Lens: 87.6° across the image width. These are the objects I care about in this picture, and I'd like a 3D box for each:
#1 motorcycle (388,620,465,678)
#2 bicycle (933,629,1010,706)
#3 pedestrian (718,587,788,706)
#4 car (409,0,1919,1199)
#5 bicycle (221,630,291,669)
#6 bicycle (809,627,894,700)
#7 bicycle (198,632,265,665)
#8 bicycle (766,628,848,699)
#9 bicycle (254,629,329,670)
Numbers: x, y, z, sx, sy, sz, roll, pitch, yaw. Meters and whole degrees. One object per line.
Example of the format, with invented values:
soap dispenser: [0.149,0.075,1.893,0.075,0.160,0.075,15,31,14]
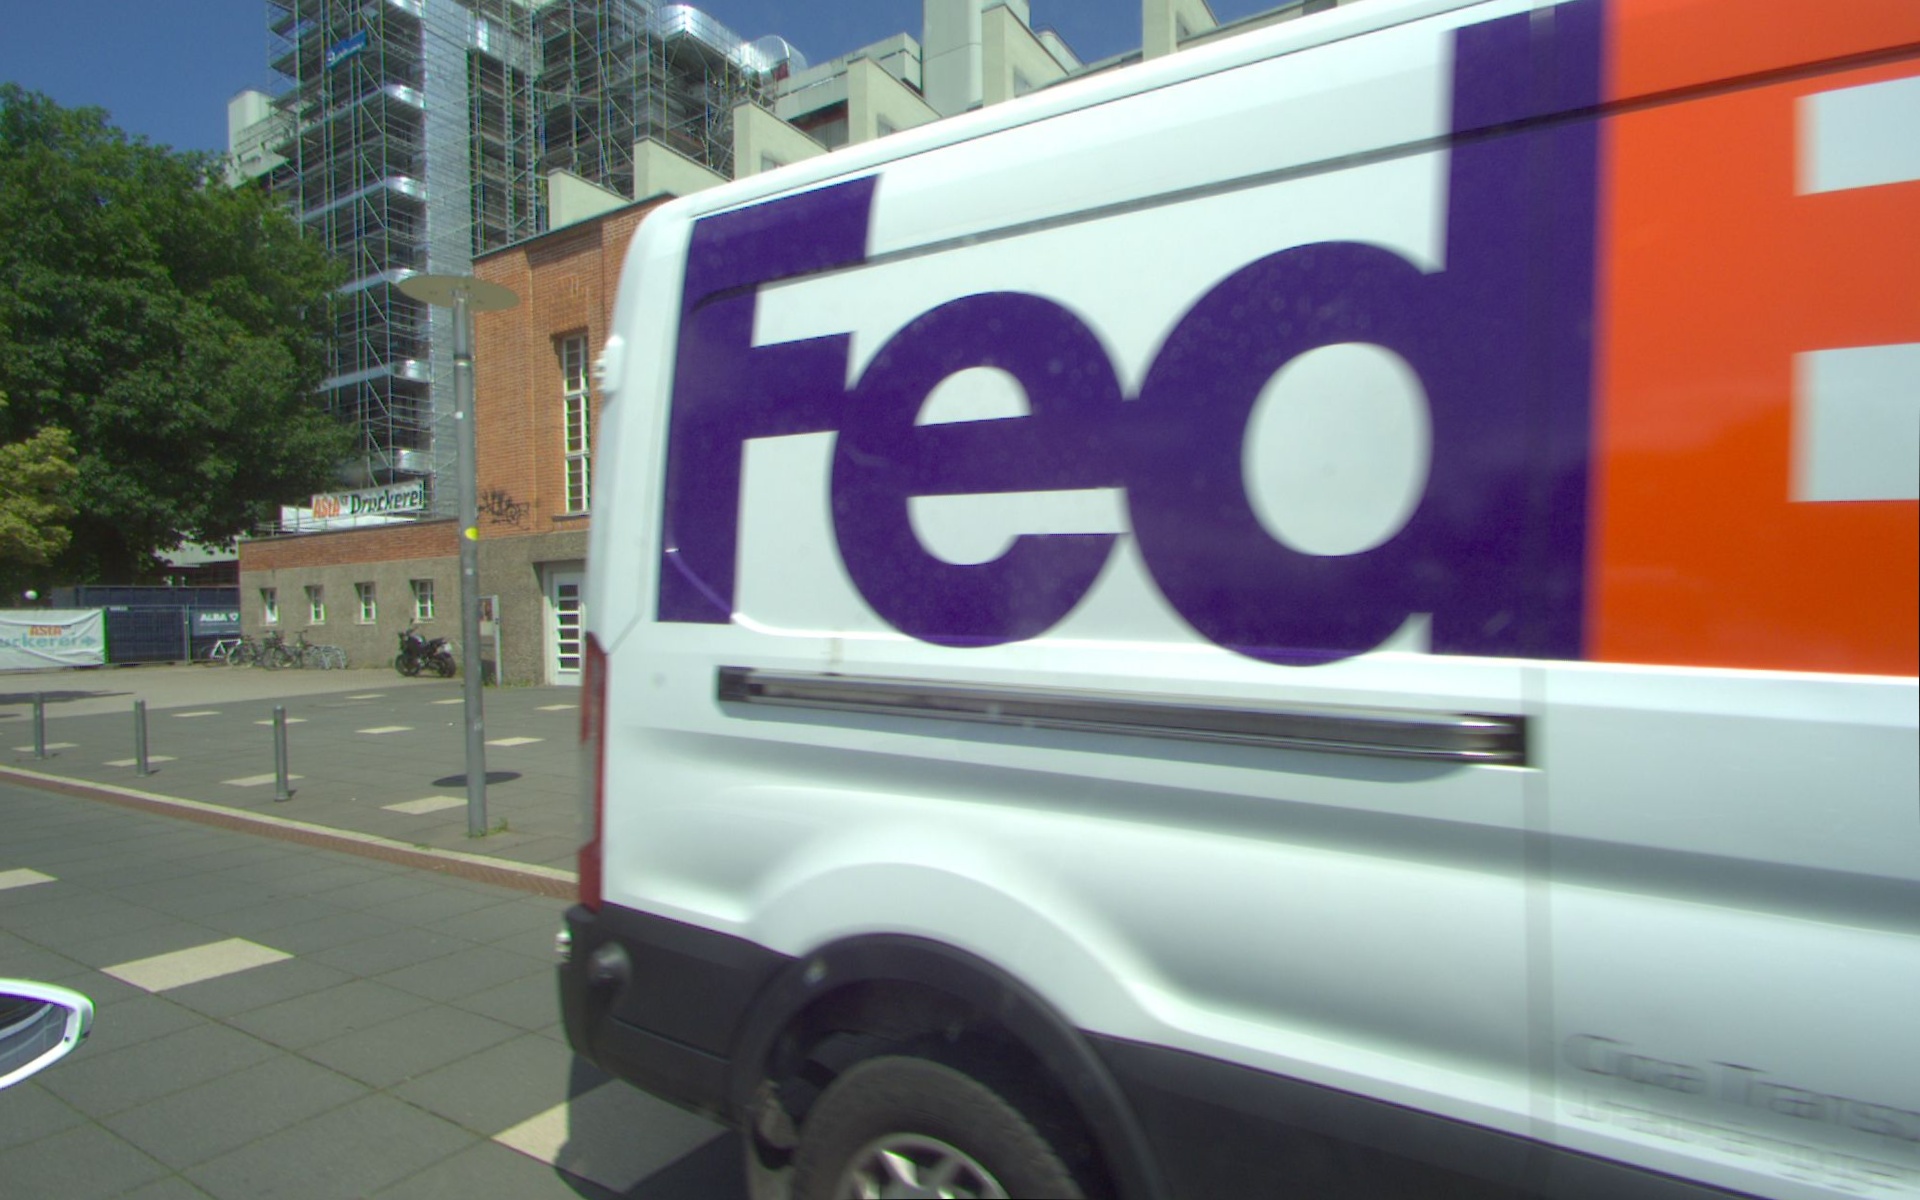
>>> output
motorcycle: [-12.893,1.151,24.163,2.189,1.340,0.694,-1,0,34]
bicycle: [0.207,1.035,15.897,0.429,1.124,1.745,0,0,30]
pedestrian: [-3.340,0.743,16.156,0.893,1.858,0.662,-1,0,30]
car: [1.689,0.248,1.856,5.762,2.577,2.056,-1,0,30]
bicycle: [-21.451,1.486,30.529,0.441,1.124,1.698,0,0,32]
bicycle: [-1.830,1.058,17.170,0.510,1.165,1.751,0,0,30]
bicycle: [-23.265,1.540,32.010,0.441,1.016,1.668,0,0,32]
bicycle: [-2.658,1.084,17.565,0.429,1.165,1.751,0,0,30]
bicycle: [-19.691,1.446,29.520,0.441,1.124,1.802,0,0,32]
